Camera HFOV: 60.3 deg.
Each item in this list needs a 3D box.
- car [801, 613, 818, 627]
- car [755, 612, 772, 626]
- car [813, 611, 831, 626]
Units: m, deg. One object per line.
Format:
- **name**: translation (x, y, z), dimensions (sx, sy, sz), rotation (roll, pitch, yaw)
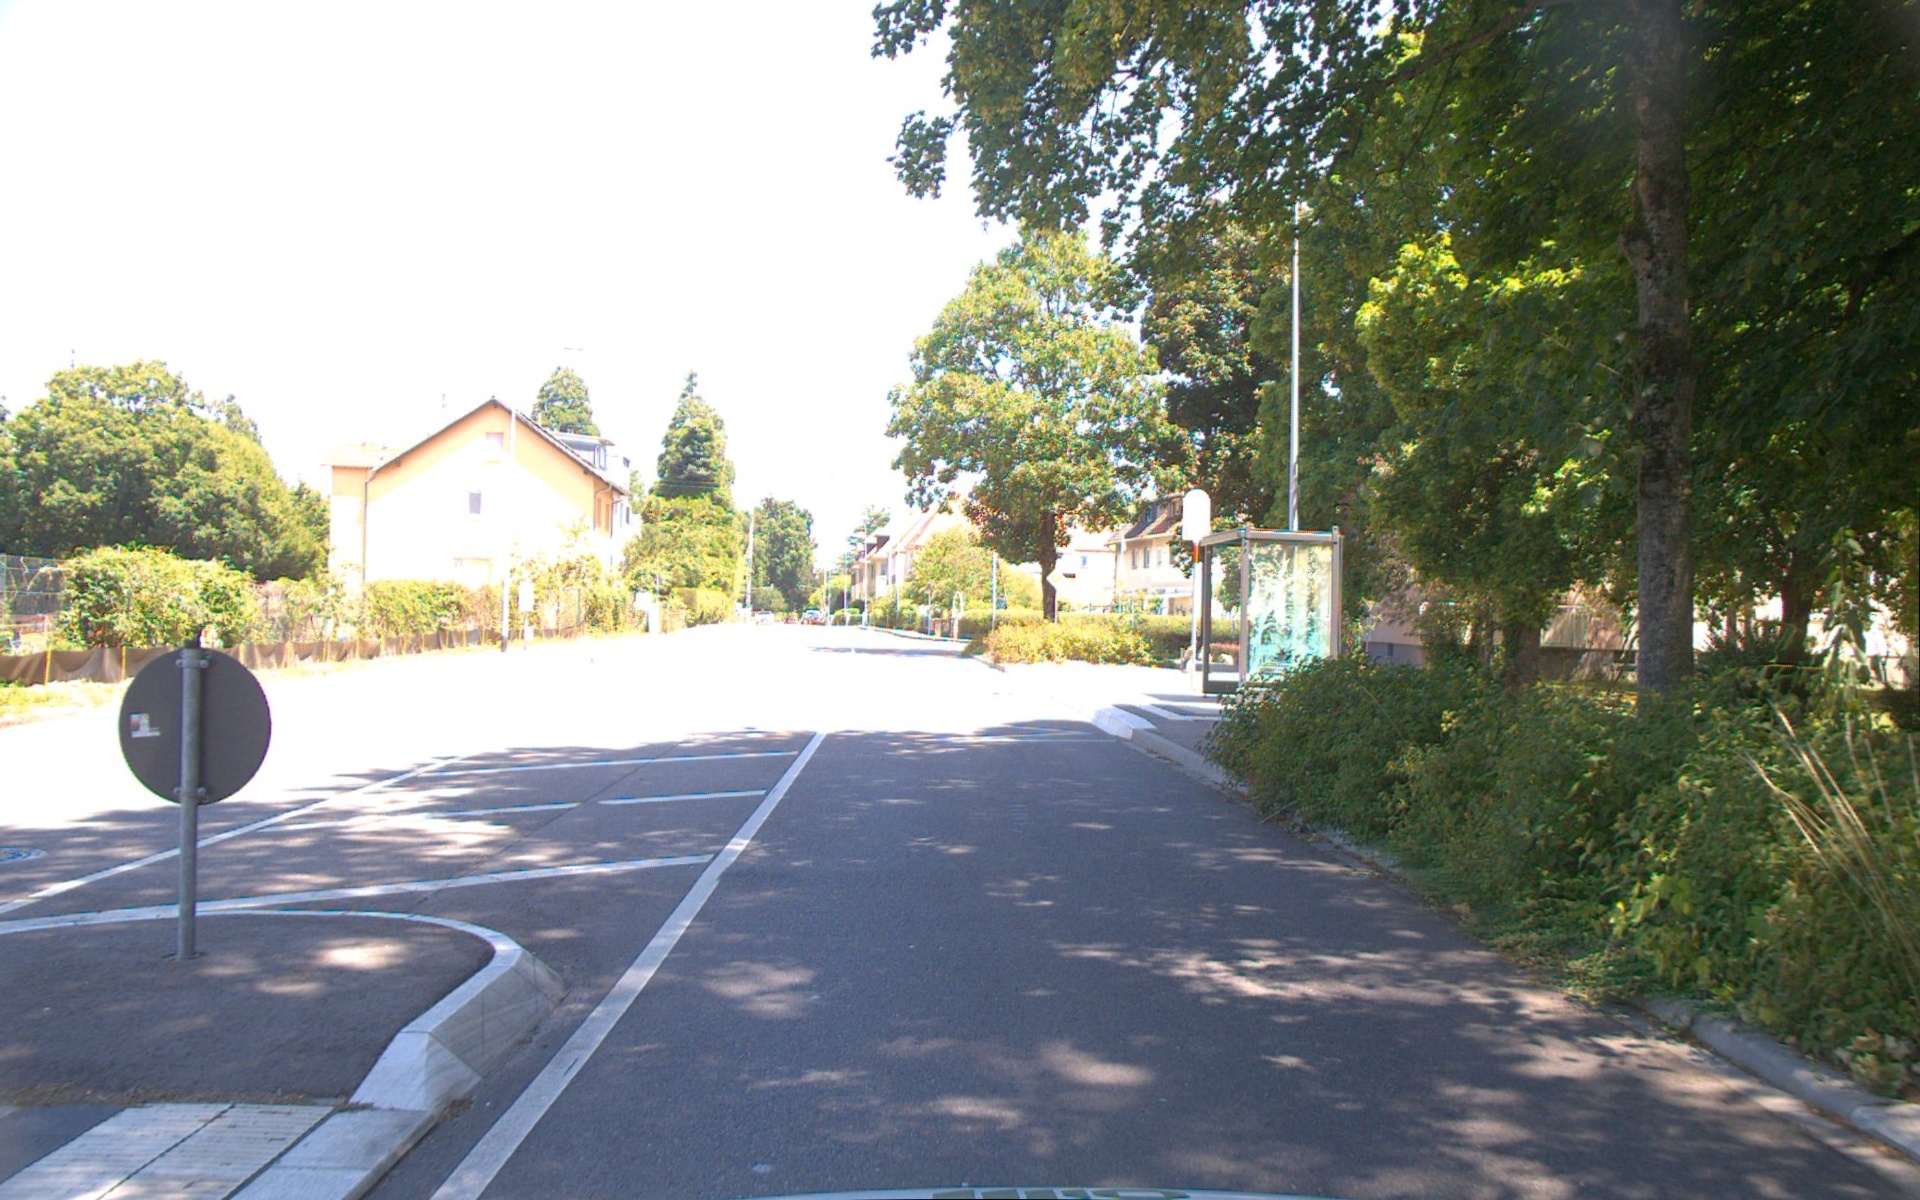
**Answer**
- **car**: translation (-16.782, 2.248, 184.649), dimensions (1.661, 1.444, 4.542), rotation (2, -2, -8)
- **car**: translation (-19.794, 1.903, 167.003), dimensions (1.648, 1.396, 4.201), rotation (0, 0, -6)
- **car**: translation (-14.687, 1.955, 175.573), dimensions (1.661, 1.444, 4.542), rotation (2, -2, -8)
